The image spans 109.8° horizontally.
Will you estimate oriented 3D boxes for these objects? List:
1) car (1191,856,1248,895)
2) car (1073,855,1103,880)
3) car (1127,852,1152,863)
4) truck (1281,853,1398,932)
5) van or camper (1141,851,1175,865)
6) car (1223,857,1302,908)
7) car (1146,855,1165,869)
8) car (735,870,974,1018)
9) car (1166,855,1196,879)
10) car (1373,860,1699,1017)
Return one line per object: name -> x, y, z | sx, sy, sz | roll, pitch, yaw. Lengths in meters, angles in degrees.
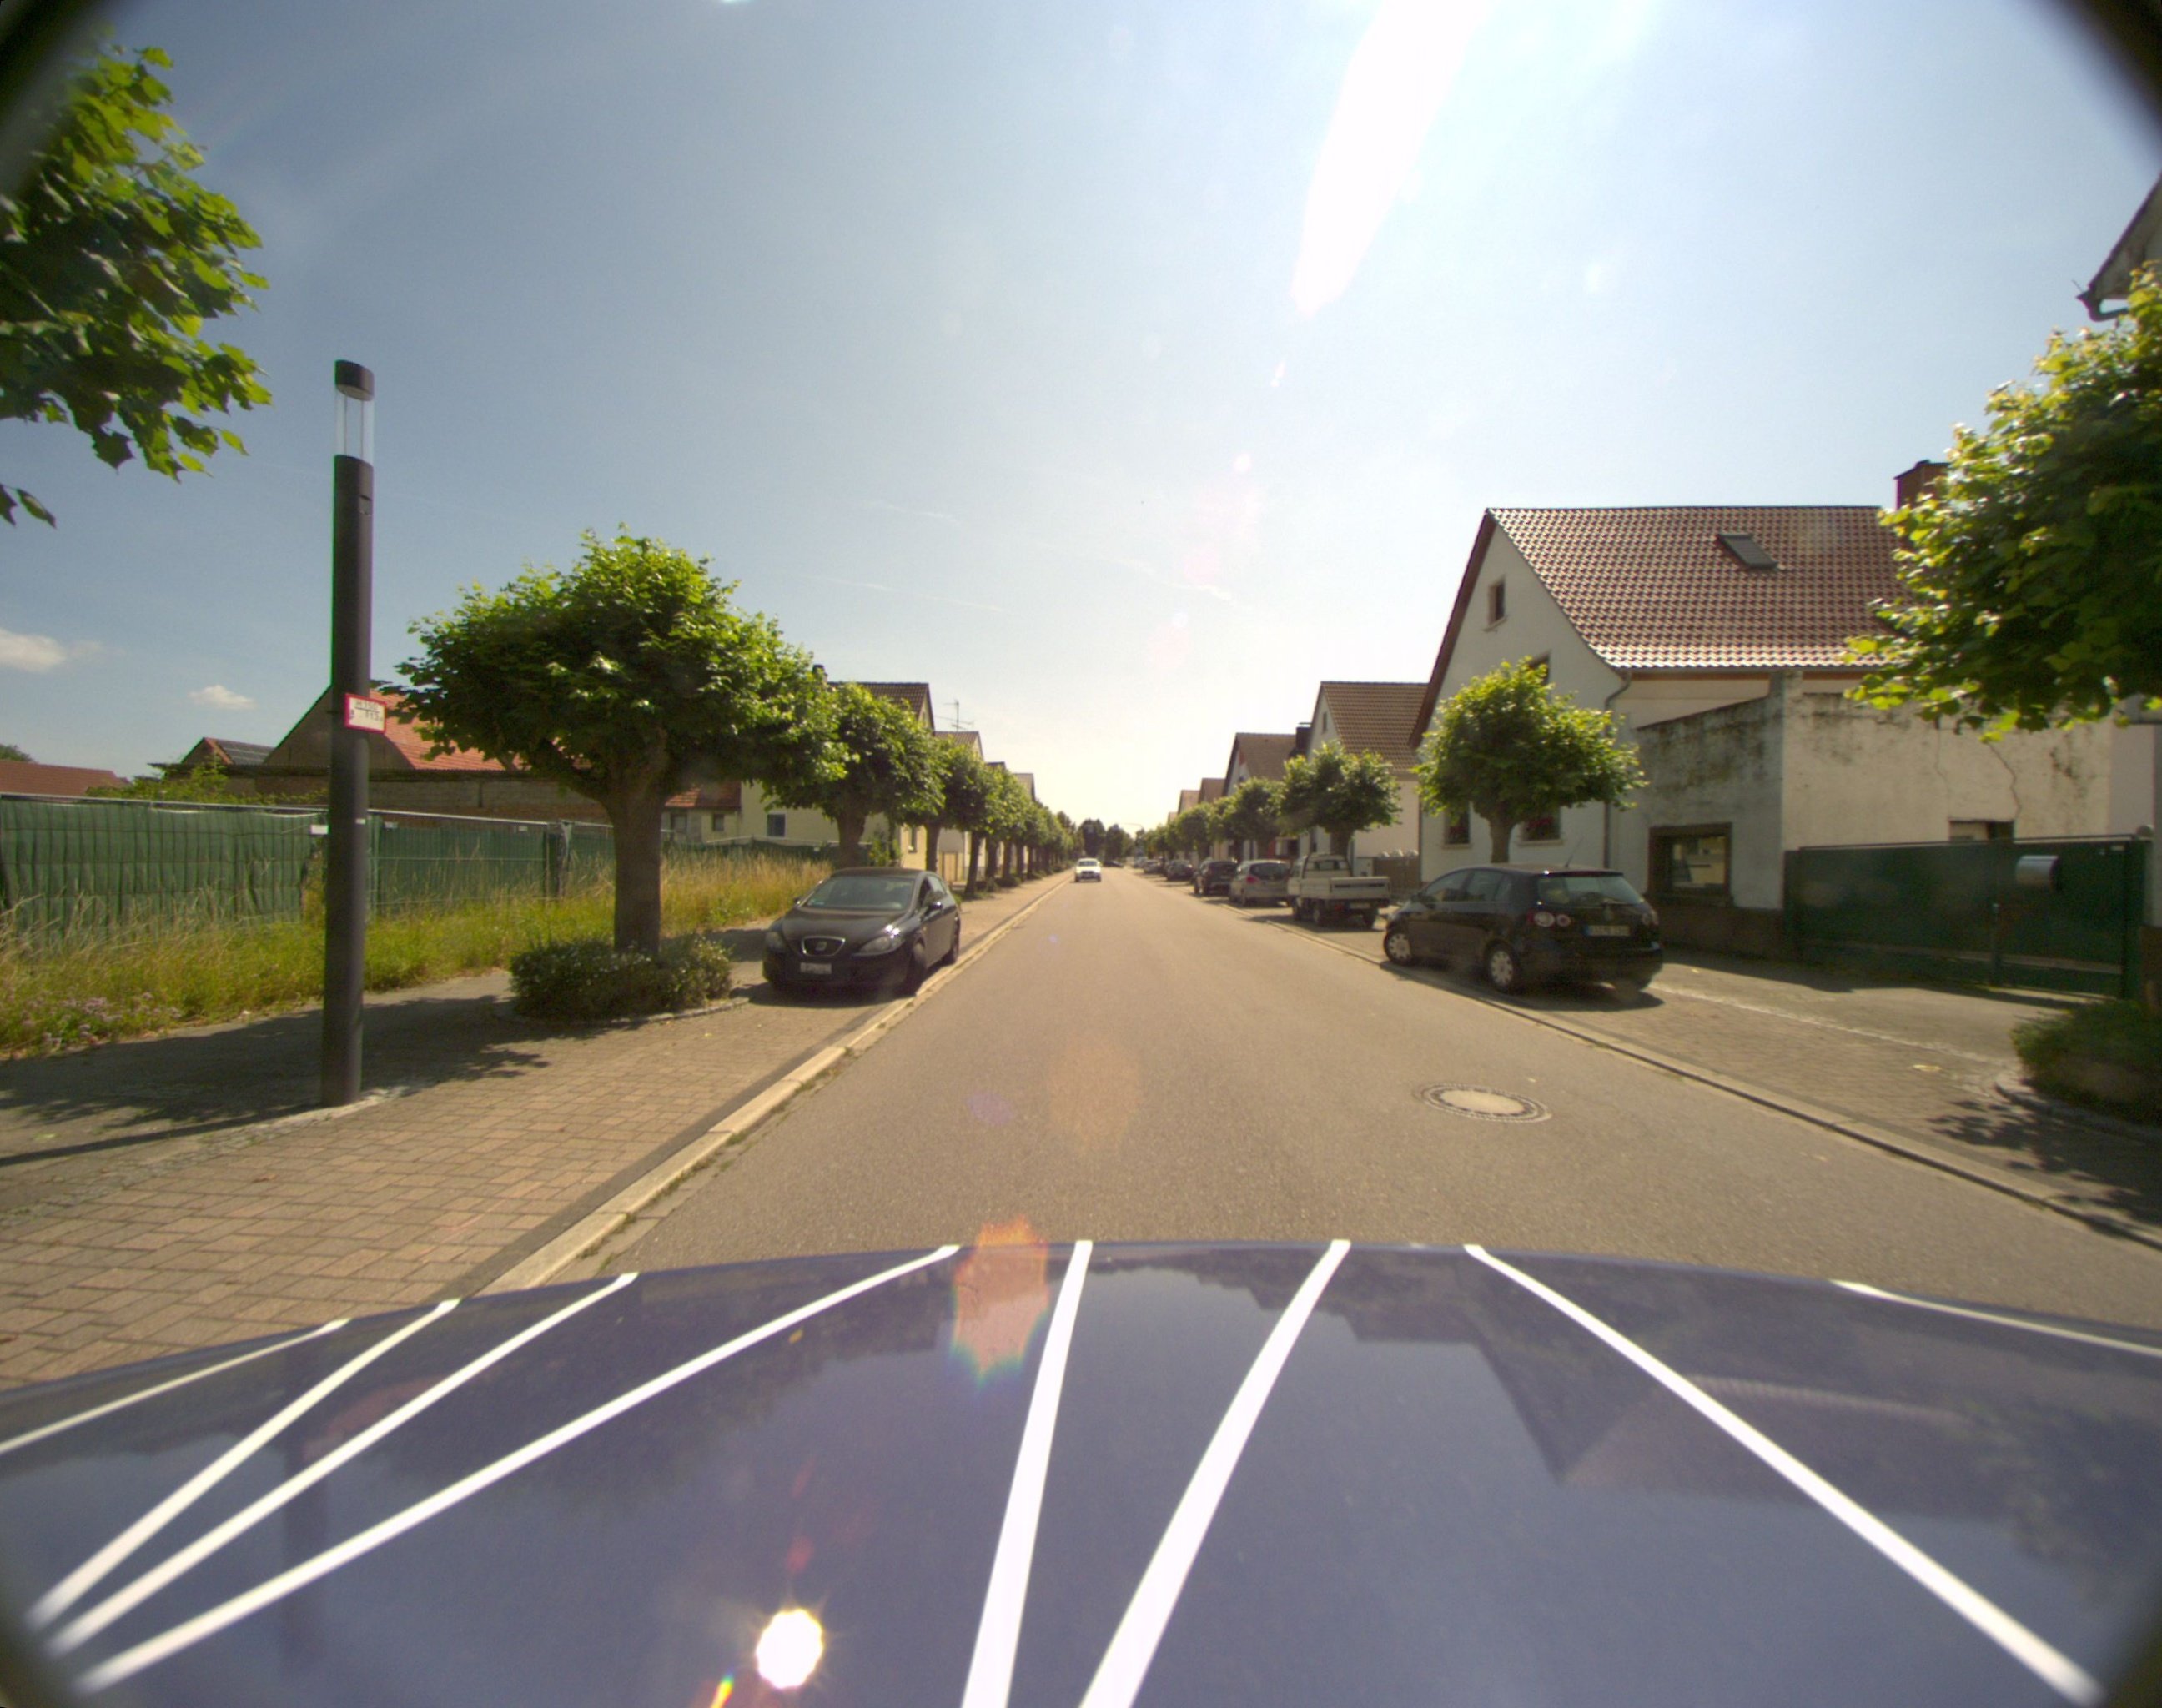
car -> 6.285, 0.938, 34.905 | 1.857, 1.626, 4.300 | -2, -1, 1
car -> 0.544, 0.932, 53.575 | 1.857, 1.603, 4.136 | -2, 0, 3
car -> 10.453, 0.594, 135.889 | 4.251, 1.709, 1.945 | -2, 0, -4
truck -> 6.409, 0.869, 19.339 | 1.580, 1.755, 4.192 | -2, 0, 1
van or camper -> 11.348, 0.576, 111.660 | 4.752, 1.851, 2.000 | -2, 0, 0
car -> 6.453, 0.963, 27.540 | 1.857, 1.603, 4.370 | -2, 0, 1
car -> 8.161, 0.888, 83.730 | 1.829, 1.474, 4.132 | -2, 0, 2
car -> -2.681, 0.994, 10.053 | 1.828, 1.423, 4.057 | 2, 0, 1
car -> 7.258, 0.905, 55.573 | 1.857, 1.603, 4.136 | -2, 0, 3
car -> 5.723, 0.930, 10.239 | 1.791, 1.624, 3.998 | -1, 0, -4
